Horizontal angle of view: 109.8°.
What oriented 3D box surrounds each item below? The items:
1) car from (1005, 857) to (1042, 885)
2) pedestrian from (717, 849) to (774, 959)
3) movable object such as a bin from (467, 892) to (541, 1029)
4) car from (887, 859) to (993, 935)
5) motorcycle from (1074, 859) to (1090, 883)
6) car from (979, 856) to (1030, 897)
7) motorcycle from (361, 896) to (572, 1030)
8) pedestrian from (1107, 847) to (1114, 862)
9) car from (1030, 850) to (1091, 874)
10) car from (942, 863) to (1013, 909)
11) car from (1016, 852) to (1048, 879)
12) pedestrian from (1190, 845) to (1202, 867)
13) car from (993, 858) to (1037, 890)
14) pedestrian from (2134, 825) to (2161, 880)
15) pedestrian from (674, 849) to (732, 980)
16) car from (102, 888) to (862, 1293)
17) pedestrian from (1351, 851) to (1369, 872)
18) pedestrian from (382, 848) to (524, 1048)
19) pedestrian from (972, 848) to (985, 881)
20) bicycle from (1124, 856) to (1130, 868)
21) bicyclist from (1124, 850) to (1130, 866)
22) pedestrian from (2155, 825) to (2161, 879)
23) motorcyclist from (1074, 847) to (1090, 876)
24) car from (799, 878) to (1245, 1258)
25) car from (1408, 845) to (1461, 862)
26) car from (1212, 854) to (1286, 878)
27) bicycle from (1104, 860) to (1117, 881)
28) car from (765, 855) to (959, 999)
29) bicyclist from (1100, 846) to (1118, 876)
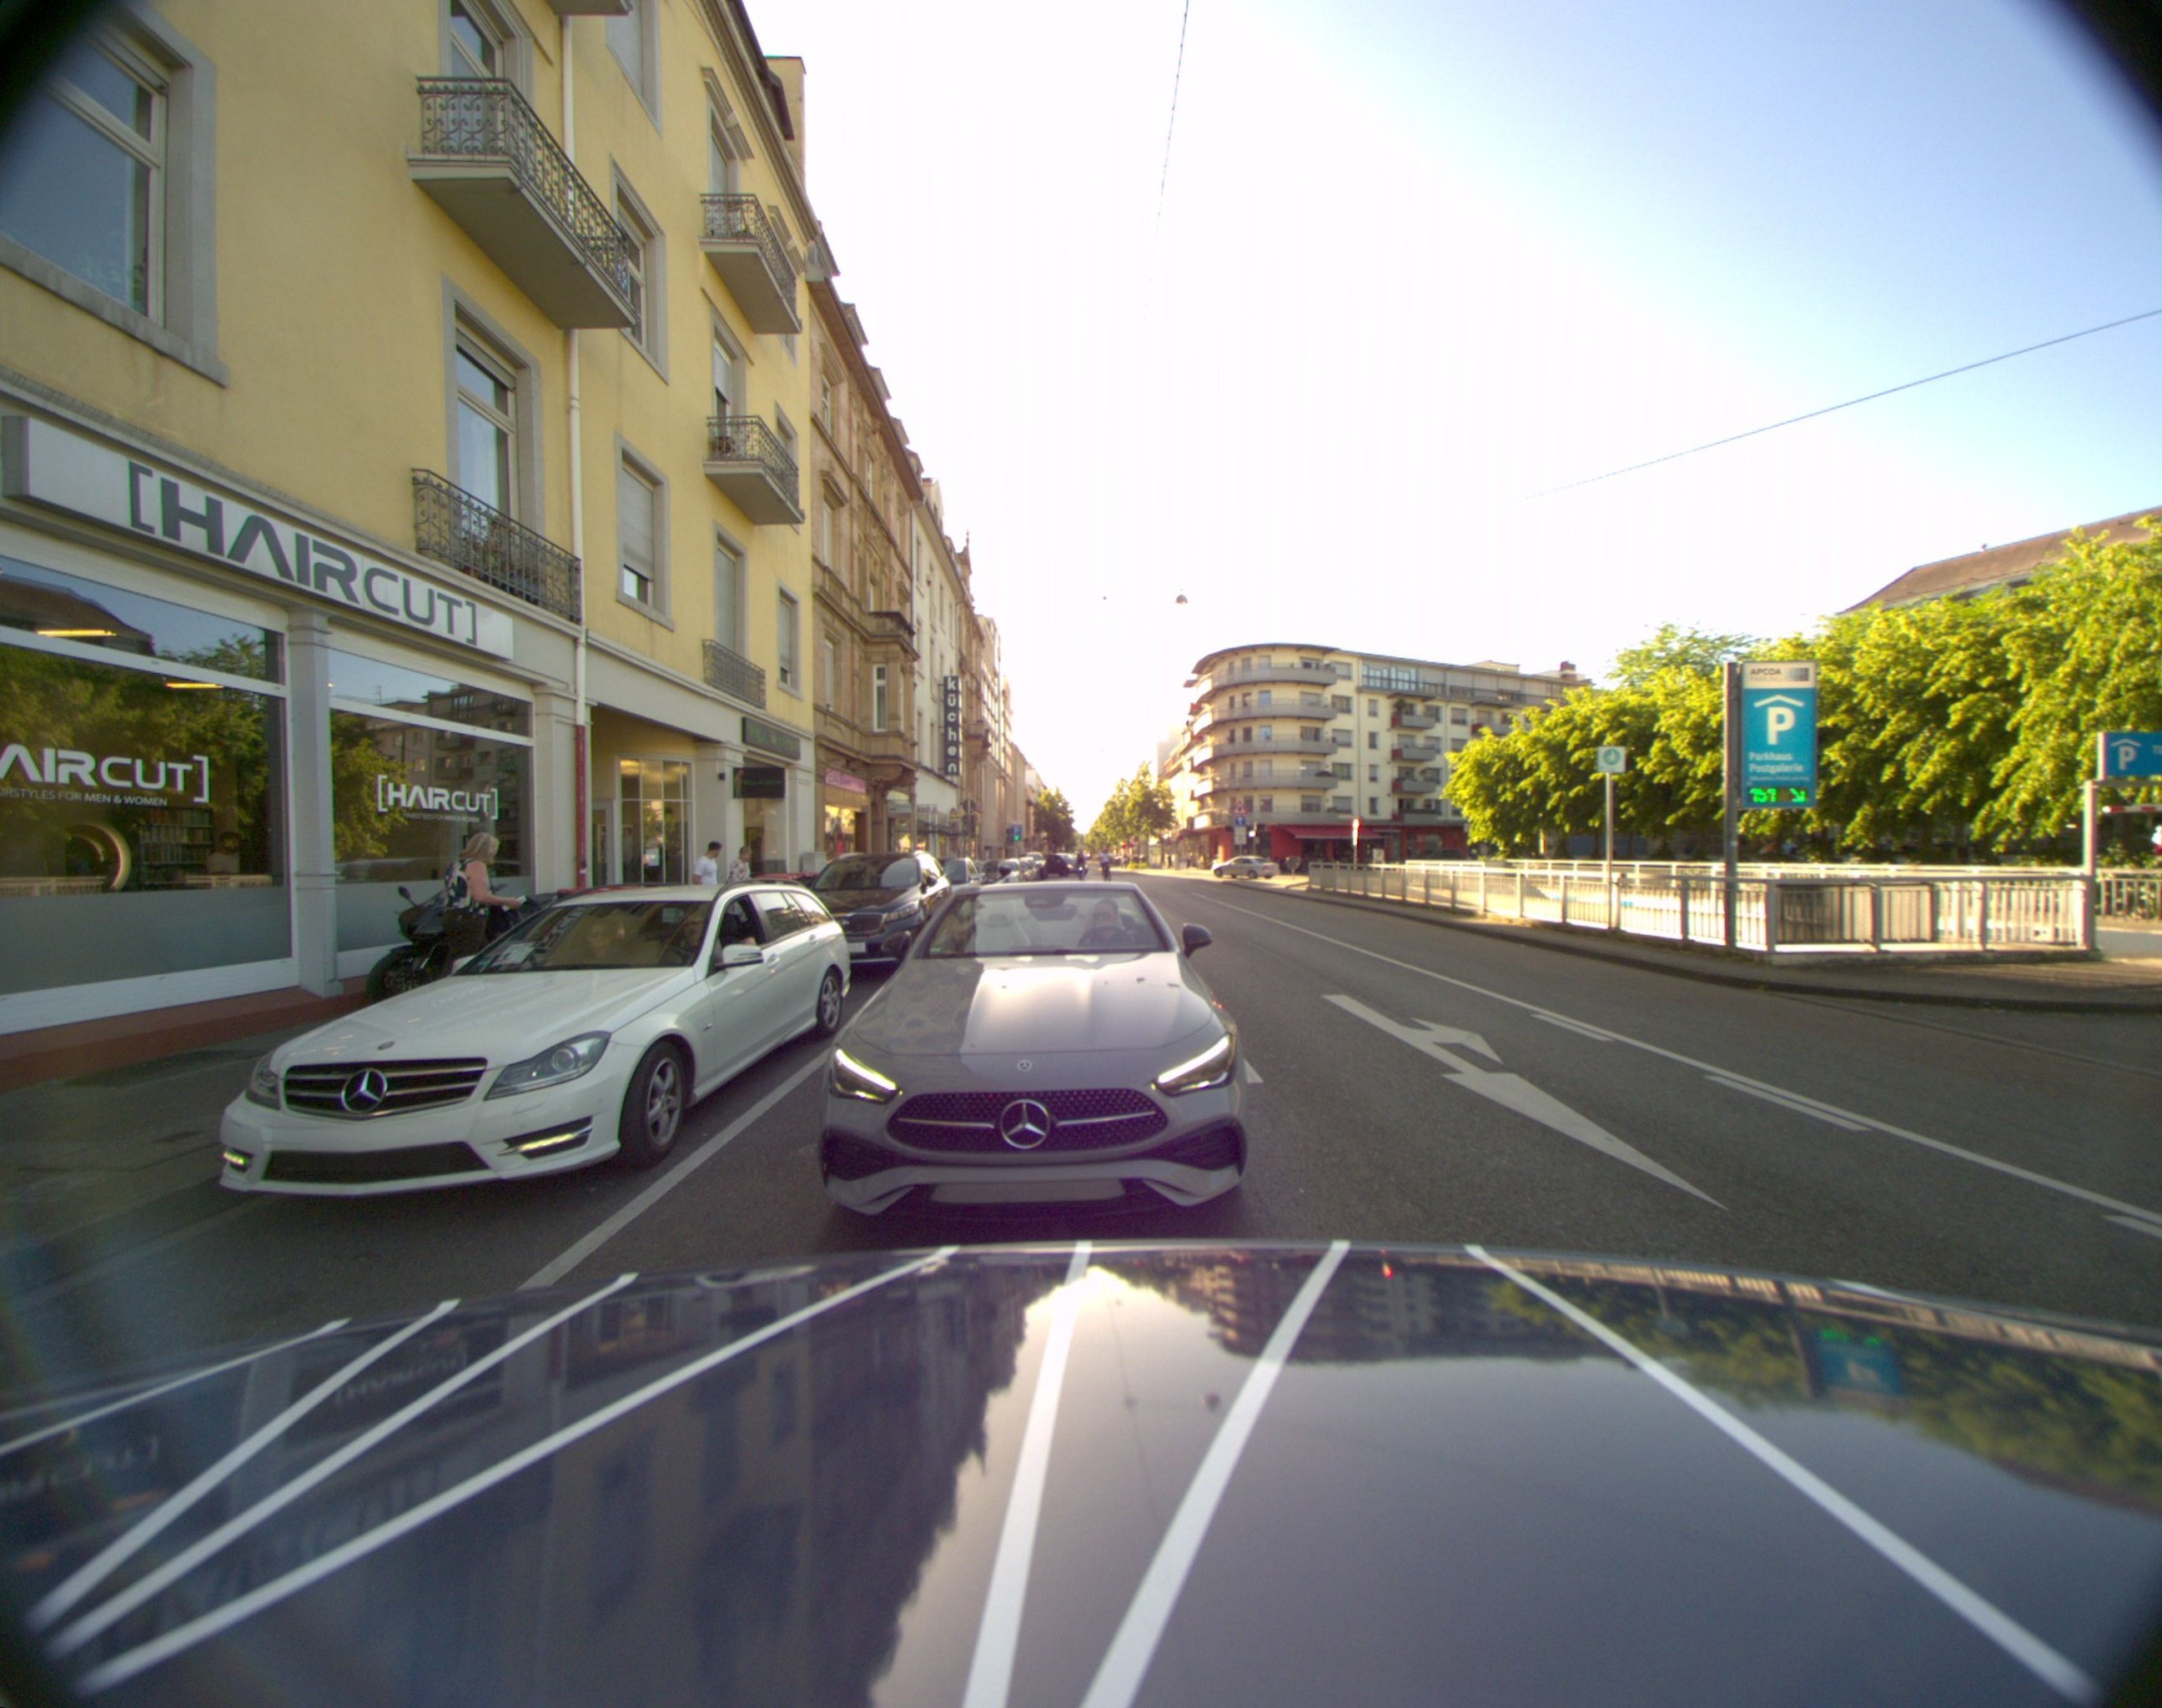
[{"bbox_3d":[-3.050,0.871,40.912,1.725,1.332,3.668,-2,1,-1],"label":"car"},{"bbox_3d":[-5.826,0.853,13.215,0.665,1.840,0.575,-2,1,-1],"label":"pedestrian"},{"bbox_3d":[-5.404,0.981,7.126,0.391,1.231,0.394,1,1,1],"label":"movable object such as a bin"},{"bbox_3d":[-3.293,0.941,18.552,1.802,1.518,4.085,-2,1,-1],"label":"car"},{"bbox_3d":[0.079,0.859,38.983,0.720,1.177,1.906,-2,1,2],"label":"motorcycle"},{"bbox_3d":[-3.021,0.870,30.733,1.660,1.423,4.085,-2,1,-1],"label":"car"},{"bbox_3d":[-6.241,1.044,7.880,0.567,1.072,1.954,2,1,1],"label":"motorcycle"},{"bbox_3d":[3.930,0.039,101.805,0.860,2.002,0.889,-2,1,1],"label":"pedestrian"},{"bbox_3d":[-1.438,0.579,53.077,3.989,1.543,1.861,-2,1,41],"label":"car"},{"bbox_3d":[-3.378,1.014,25.441,1.802,1.259,4.085,-2,1,-1],"label":"car"},{"bbox_3d":[-3.058,0.692,47.682,1.725,1.506,4.004,-2,1,-1],"label":"car"},{"bbox_3d":[10.284,0.173,68.191,0.860,2.002,0.889,-2,1,0],"label":"pedestrian"},{"bbox_3d":[-3.146,0.926,36.715,1.802,1.332,3.838,-2,1,-1],"label":"car"},{"bbox_3d":[34.210,-0.056,24.209,0.647,1.711,0.607,-3,1,-19],"label":"pedestrian"},{"bbox_3d":[-5.878,0.908,11.848,0.373,1.971,0.695,0,1,23],"label":"pedestrian"},{"bbox_3d":[-3.061,1.063,5.274,1.704,1.351,4.378,-2,1,1],"label":"car"},{"bbox_3d":[21.651,0.567,58.948,0.863,1.586,0.887,-3,1,-38],"label":"pedestrian"},{"bbox_3d":[-5.428,0.780,6.604,0.719,1.644,0.606,1,1,1],"label":"pedestrian"},{"bbox_3d":[-5.813,0.577,43.200,0.574,1.840,0.665,-2,1,1],"label":"pedestrian"},{"bbox_3d":[4.672,0.776,76.705,0.527,1.163,1.593,-2,1,1],"label":"bicycle"},{"bbox_3d":[4.655,0.402,76.655,0.525,1.539,0.798,-2,1,1],"label":"bicyclist"},{"bbox_3d":[34.990,-0.069,24.278,0.647,1.711,0.607,-3,1,-19],"label":"pedestrian"},{"bbox_3d":[0.062,0.395,38.936,0.722,1.438,0.705,-2,1,2],"label":"motorcyclist"},{"bbox_3d":[-0.253,0.953,5.158,1.802,1.351,3.999,-2,1,0],"label":"car"},{"bbox_3d":[29.050,-0.058,62.440,4.004,1.294,1.753,-2,1,-23],"label":"car"},{"bbox_3d":[10.605,0.713,48.173,1.828,1.346,4.252,0,2,-42],"label":"car"},{"bbox_3d":[1.583,0.861,41.205,0.640,1.078,2.061,-1,0,1],"label":"bicycle"},{"bbox_3d":[-2.999,0.884,11.357,1.803,1.629,4.243,-2,1,-3],"label":"car"},{"bbox_3d":[1.525,0.366,41.290,0.885,1.625,0.768,-2,1,0],"label":"bicyclist"}]
